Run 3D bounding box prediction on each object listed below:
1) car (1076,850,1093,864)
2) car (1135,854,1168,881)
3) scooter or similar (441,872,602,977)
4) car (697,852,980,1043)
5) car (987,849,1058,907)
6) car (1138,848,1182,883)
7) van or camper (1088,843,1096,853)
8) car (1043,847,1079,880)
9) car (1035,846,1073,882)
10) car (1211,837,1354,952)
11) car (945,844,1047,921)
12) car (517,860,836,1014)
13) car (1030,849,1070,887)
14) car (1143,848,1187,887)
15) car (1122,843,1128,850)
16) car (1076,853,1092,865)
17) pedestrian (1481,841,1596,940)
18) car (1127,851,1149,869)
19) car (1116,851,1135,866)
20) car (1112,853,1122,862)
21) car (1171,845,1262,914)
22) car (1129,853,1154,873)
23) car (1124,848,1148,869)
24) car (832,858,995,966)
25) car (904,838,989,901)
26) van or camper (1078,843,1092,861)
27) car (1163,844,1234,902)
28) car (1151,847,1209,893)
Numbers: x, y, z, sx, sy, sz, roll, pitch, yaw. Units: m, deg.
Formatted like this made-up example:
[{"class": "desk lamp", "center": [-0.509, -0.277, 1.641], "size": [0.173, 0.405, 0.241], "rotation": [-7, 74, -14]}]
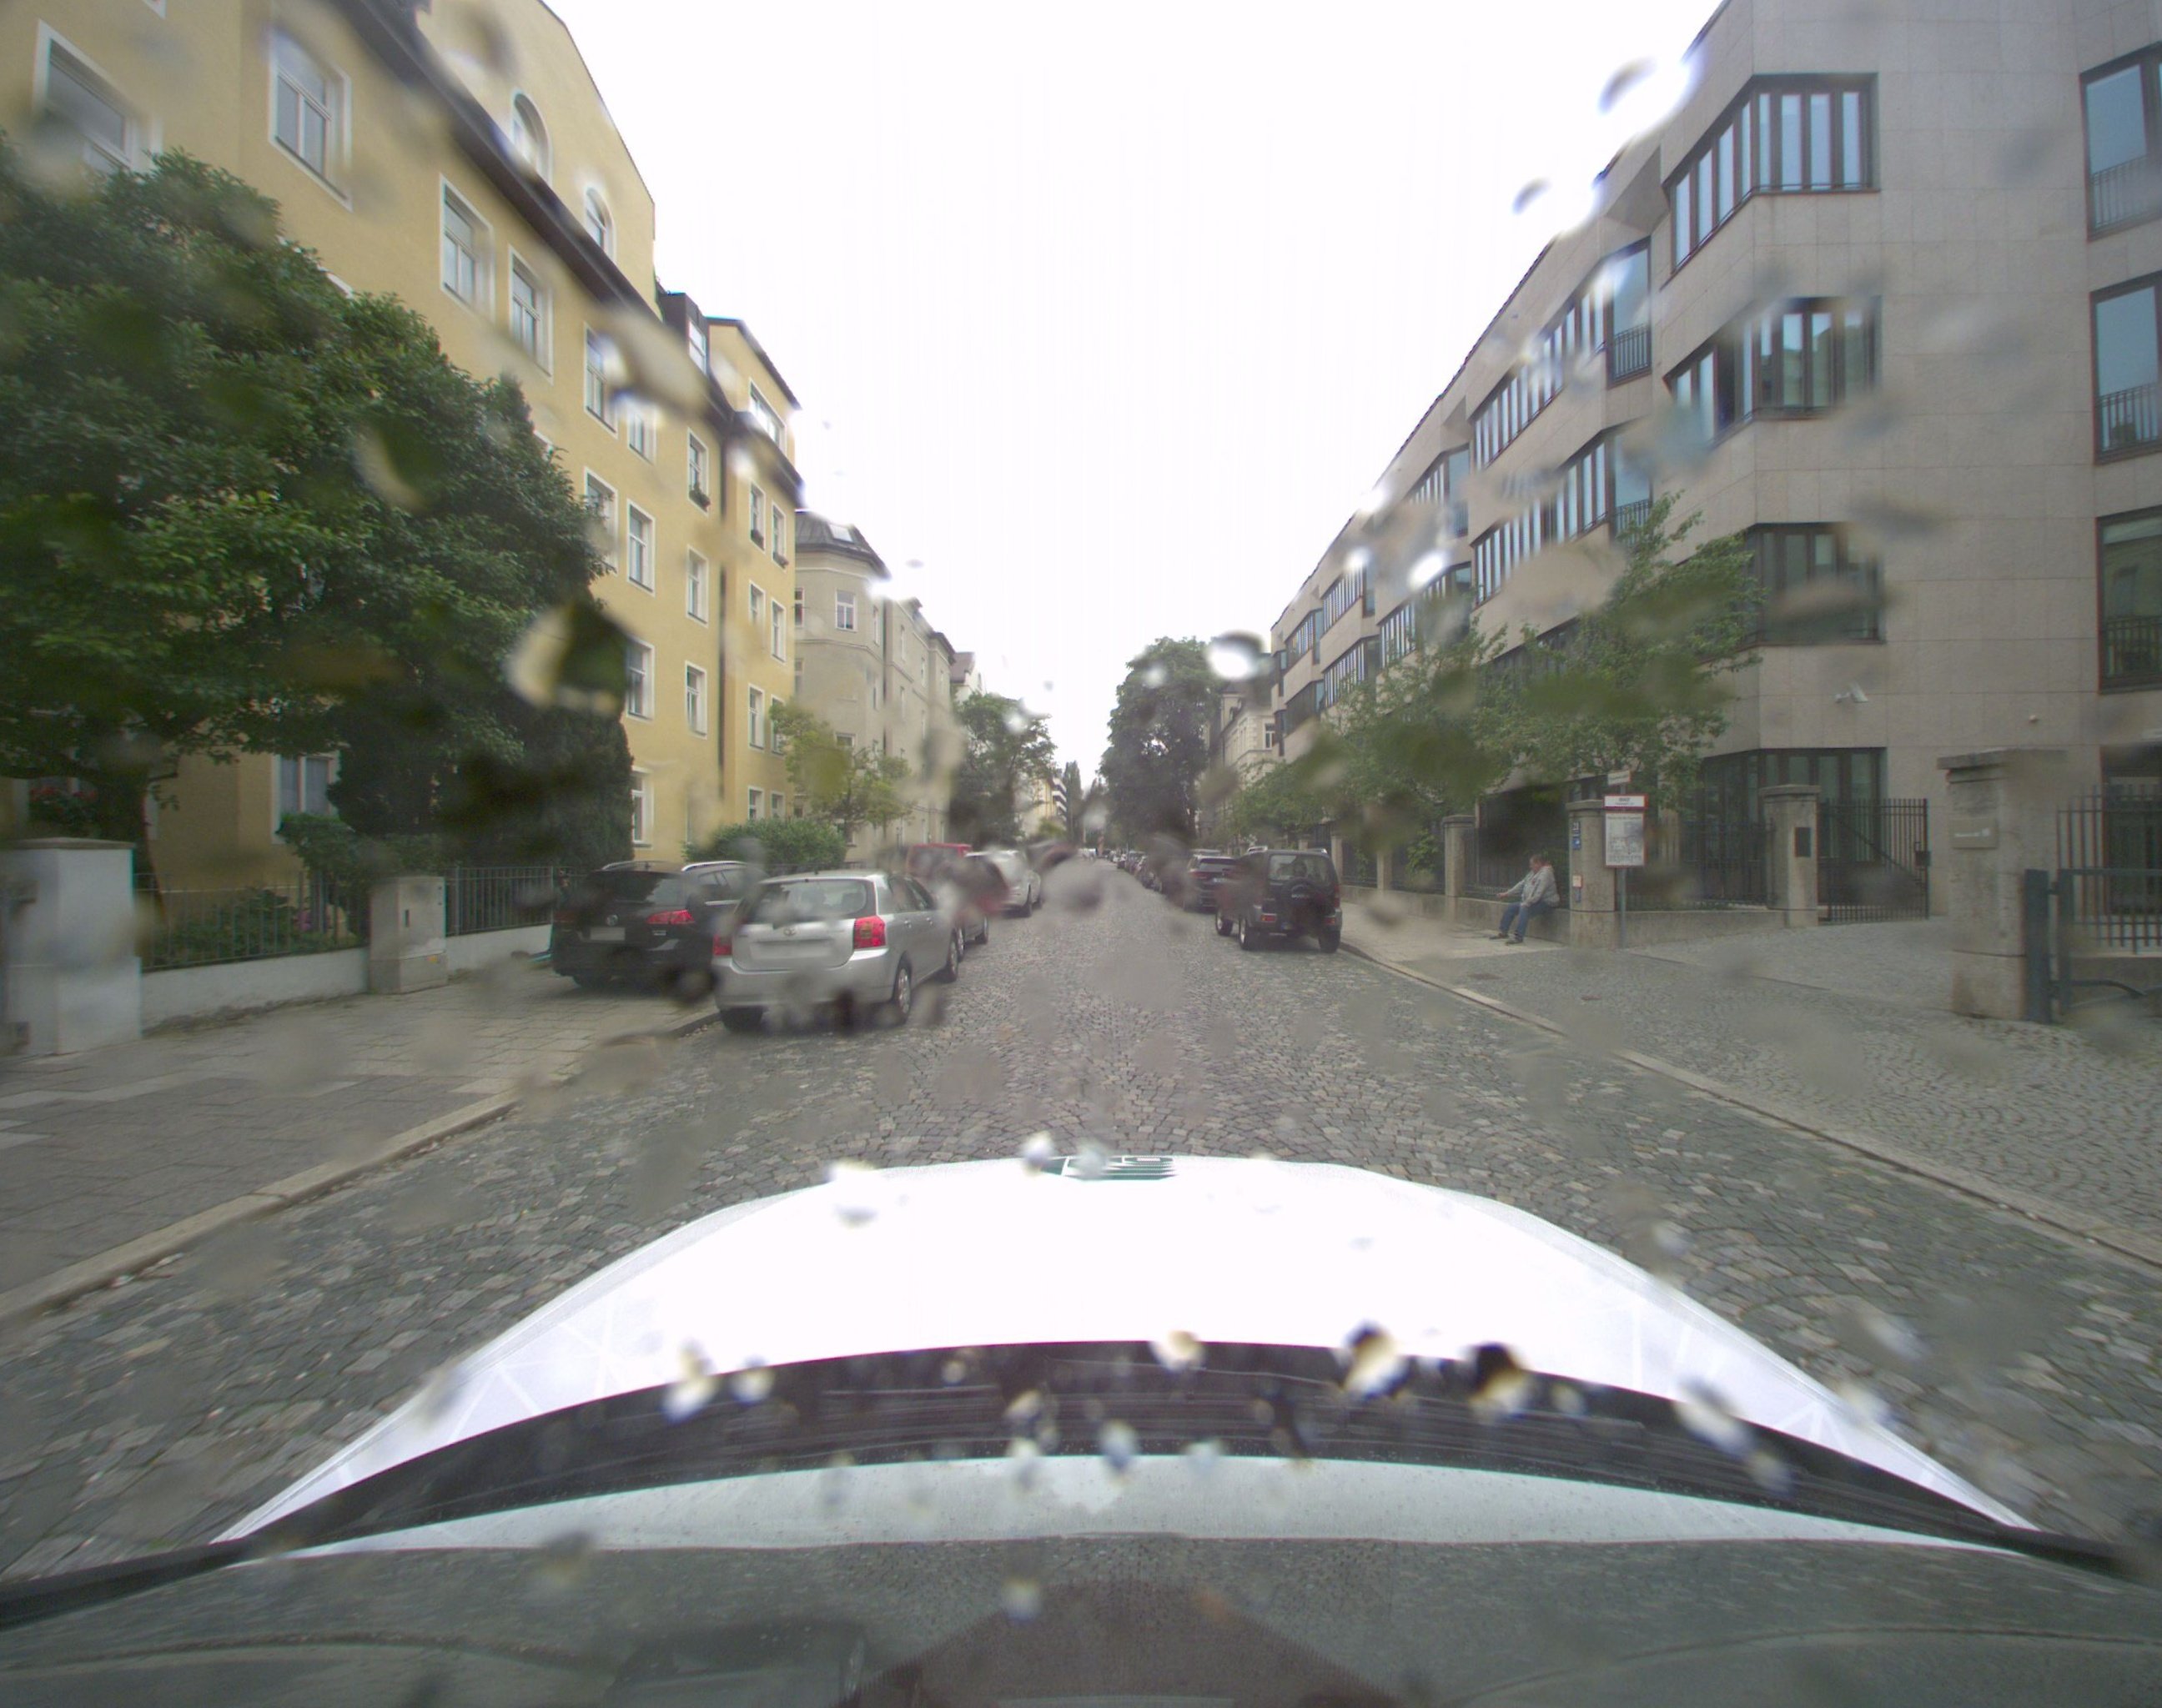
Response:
[{"class": "car", "center": [0.402, 0.334, 98.143], "size": [1.867, 1.580, 4.254], "rotation": [-3, 0, -1]}, {"class": "car", "center": [4.355, 0.820, 50.692], "size": [1.865, 1.490, 4.621], "rotation": [2, 1, 3]}, {"class": "scooter or similar", "center": [-7.145, 0.859, 10.512], "size": [0.952, 1.200, 1.523], "rotation": [2, 0, 2]}, {"class": "car", "center": [-2.344, 0.800, 9.152], "size": [1.707, 1.562, 4.391], "rotation": [-2, 0, 1]}, {"class": "car", "center": [-1.983, 0.794, 29.088], "size": [1.910, 1.735, 4.758], "rotation": [-5, 0, 2]}, {"class": "car", "center": [4.363, 0.610, 45.556], "size": [1.867, 1.735, 4.746], "rotation": [3, 0, -1]}, {"class": "van or camper", "center": [2.934, -1.594, 215.686], "size": [2.247, 2.742, 5.100], "rotation": [0, 0, 2]}, {"class": "car", "center": [-1.256, 0.576, 53.544], "size": [1.986, 1.917, 5.177], "rotation": [-4, 0, 1]}, {"class": "car", "center": [-1.501, 0.544, 47.063], "size": [1.867, 1.917, 4.827], "rotation": [-3, 0, 1]}, {"class": "car", "center": [3.486, 0.630, 14.790], "size": [1.613, 1.751, 3.887], "rotation": [2, 0, 0]}, {"class": "car", "center": [-2.193, 0.691, 22.524], "size": [1.998, 1.809, 5.177], "rotation": [-2, 0, 2]}, {"class": "car", "center": [-4.872, 0.868, 10.739], "size": [1.709, 1.497, 4.723], "rotation": [1, 0, 1]}, {"class": "car", "center": [-1.548, 0.688, 42.082], "size": [1.860, 1.735, 4.401], "rotation": [-3, 0, -1]}, {"class": "car", "center": [4.011, 0.631, 39.660], "size": [1.865, 1.735, 4.895], "rotation": [1, 0, 3]}, {"class": "car", "center": [13.789, -2.422, 255.018], "size": [1.986, 2.014, 4.002], "rotation": [0, 0, 2]}, {"class": "car", "center": [0.439, 0.701, 116.141], "size": [1.864, 1.580, 4.213], "rotation": [1, 0, 5]}, {"class": "pedestrian", "center": [7.408, 0.572, 13.269], "size": [1.211, 1.493, 1.130], "rotation": [-3, 0, 3]}, {"class": "car", "center": [5.042, 0.487, 72.601], "size": [1.830, 1.490, 4.424], "rotation": [2, 0, 2]}, {"class": "car", "center": [4.896, 0.464, 90.271], "size": [1.867, 1.503, 4.510], "rotation": [2, 0, -1]}, {"class": "car", "center": [6.743, 0.625, 151.921], "size": [1.783, 1.520, 4.002], "rotation": [-1, 0, 2]}, {"class": "car", "center": [3.745, 0.654, 23.270], "size": [1.854, 1.702, 4.815], "rotation": [2, 0, 1]}, {"class": "car", "center": [4.848, 0.715, 65.683], "size": [1.707, 1.472, 4.269], "rotation": [2, 0, 0]}, {"class": "car", "center": [5.230, 0.397, 78.278], "size": [1.867, 1.928, 5.162], "rotation": [2, 0, -1]}, {"class": "car", "center": [-2.567, 0.821, 13.444], "size": [1.723, 1.418, 3.937], "rotation": [-3, 0, 1]}, {"class": "car", "center": [-4.500, 0.473, 28.122], "size": [1.987, 1.931, 5.330], "rotation": [1, 0, 0]}, {"class": "van or camper", "center": [0.597, -0.318, 131.113], "size": [1.986, 2.652, 4.002], "rotation": [-3, 0, 2]}, {"class": "car", "center": [4.036, 0.612, 28.709], "size": [1.782, 1.796, 4.509], "rotation": [3, 0, 0]}, {"class": "car", "center": [4.132, 0.646, 34.662], "size": [1.867, 1.735, 4.659], "rotation": [3, 0, 1]}]
